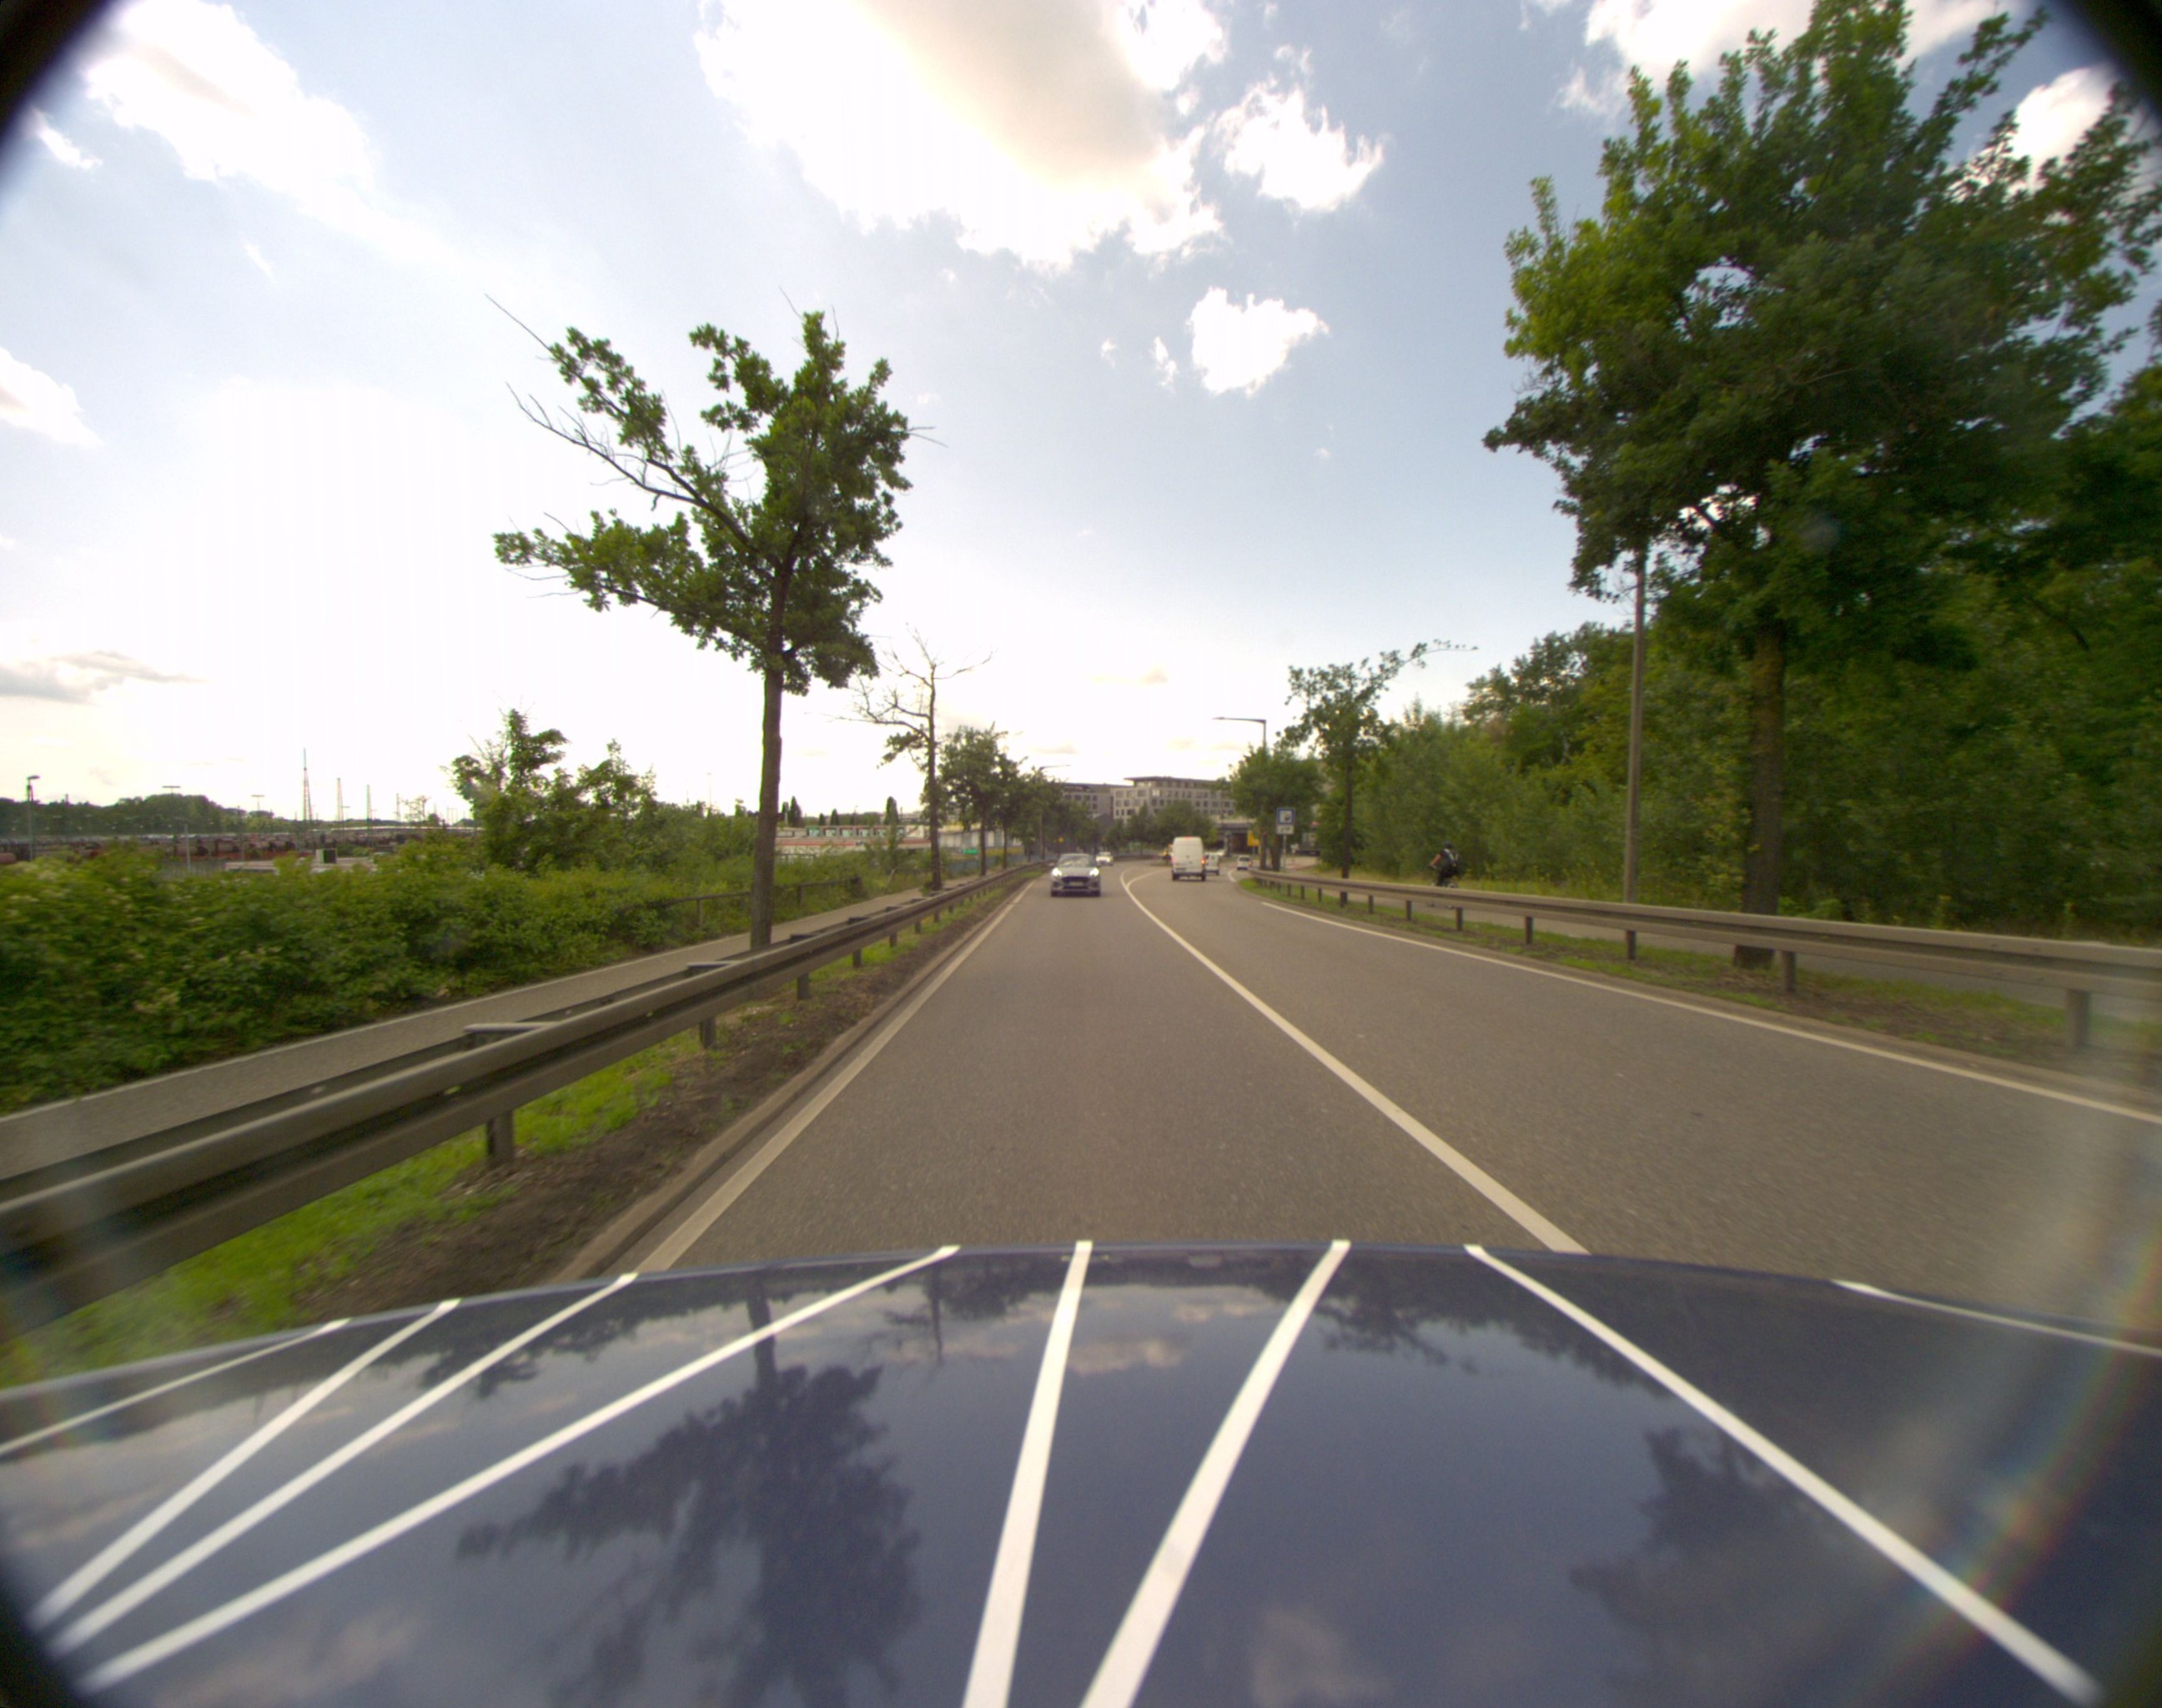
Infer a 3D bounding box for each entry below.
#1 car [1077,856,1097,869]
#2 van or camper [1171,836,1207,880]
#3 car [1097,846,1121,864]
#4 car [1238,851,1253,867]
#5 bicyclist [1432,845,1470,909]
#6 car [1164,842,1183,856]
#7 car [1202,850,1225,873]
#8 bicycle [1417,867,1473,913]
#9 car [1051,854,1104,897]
[{"bbox_3d":[0.587,0.816,74.375,1.847,1.201,4.000,1,0,0],"label":"car"},{"bbox_3d":[6.700,0.218,47.624,1.997,2.567,5.984,1,0,6],"label":"van or camper"},{"bbox_3d":[3.339,0.123,91.138,1.996,2.002,4.004,3,2,14],"label":"car"},{"bbox_3d":[20.455,0.596,94.676,1.777,1.852,4.129,2,0,12],"label":"car"},{"bbox_3d":[9.112,0.549,18.744,0.486,1.544,0.880,1,1,0],"label":"bicyclist"},{"bbox_3d":[15.958,-0.910,131.206,1.995,2.306,4.894,-1,1,22],"label":"car"},{"bbox_3d":[11.369,0.596,64.882,1.778,1.856,5.271,1,0,12],"label":"car"},{"bbox_3d":[9.110,0.887,19.079,0.558,1.057,1.754,0,1,0],"label":"bicycle"},{"bbox_3d":[-0.061,0.771,28.745,1.827,1.516,4.001,0,0,2],"label":"car"}]
